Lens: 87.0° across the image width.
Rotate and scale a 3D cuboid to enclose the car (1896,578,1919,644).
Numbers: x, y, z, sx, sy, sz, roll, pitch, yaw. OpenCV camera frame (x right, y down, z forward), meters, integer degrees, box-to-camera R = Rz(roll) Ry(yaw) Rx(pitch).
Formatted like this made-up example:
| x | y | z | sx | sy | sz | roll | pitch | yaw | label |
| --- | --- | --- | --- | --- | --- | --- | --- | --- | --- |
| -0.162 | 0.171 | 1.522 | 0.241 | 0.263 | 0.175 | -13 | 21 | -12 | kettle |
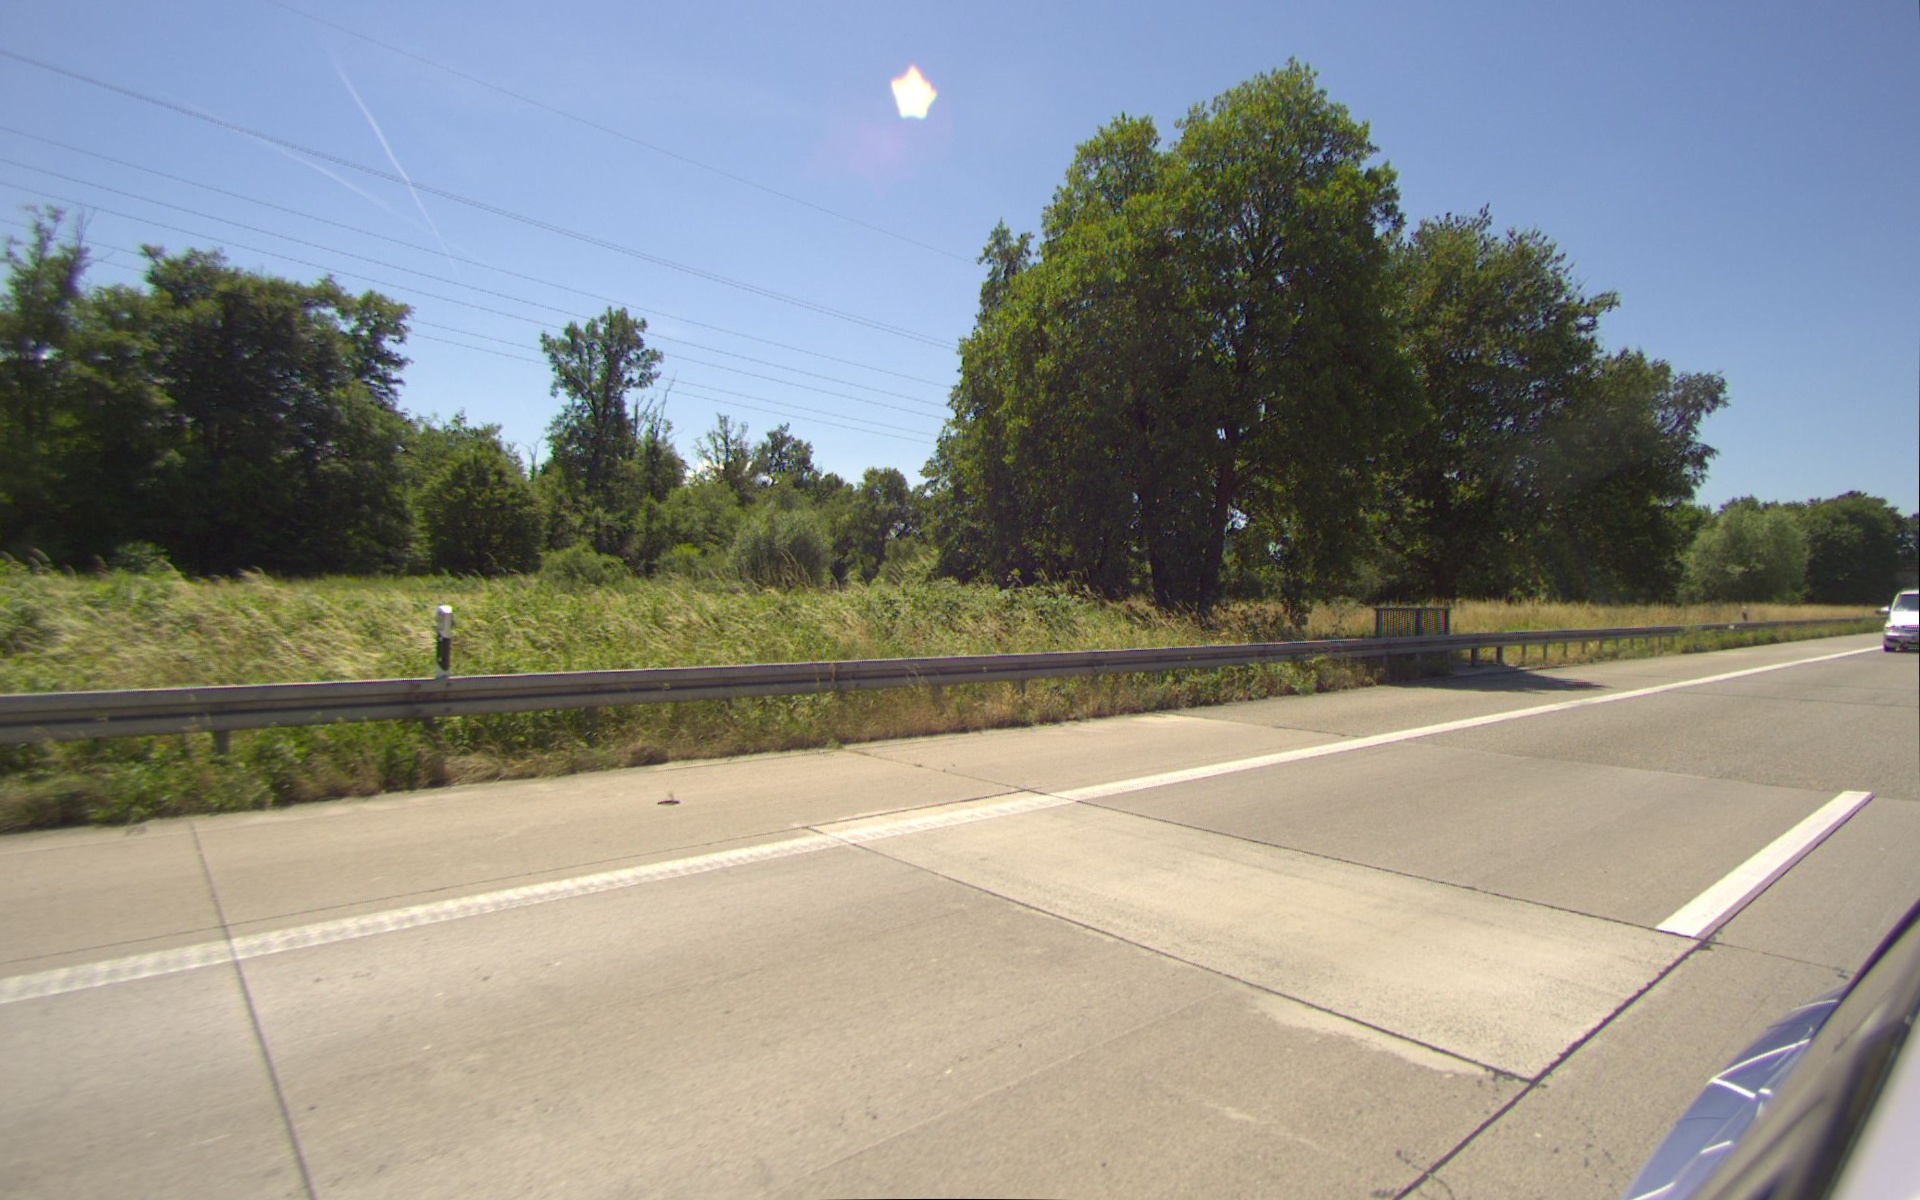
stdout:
| x | y | z | sx | sy | sz | roll | pitch | yaw | label |
| --- | --- | --- | --- | --- | --- | --- | --- | --- | --- |
| 30.080 | 0.370 | 30.720 | 5.186 | 1.913 | 1.882 | 2 | -1 | -41 | car |
